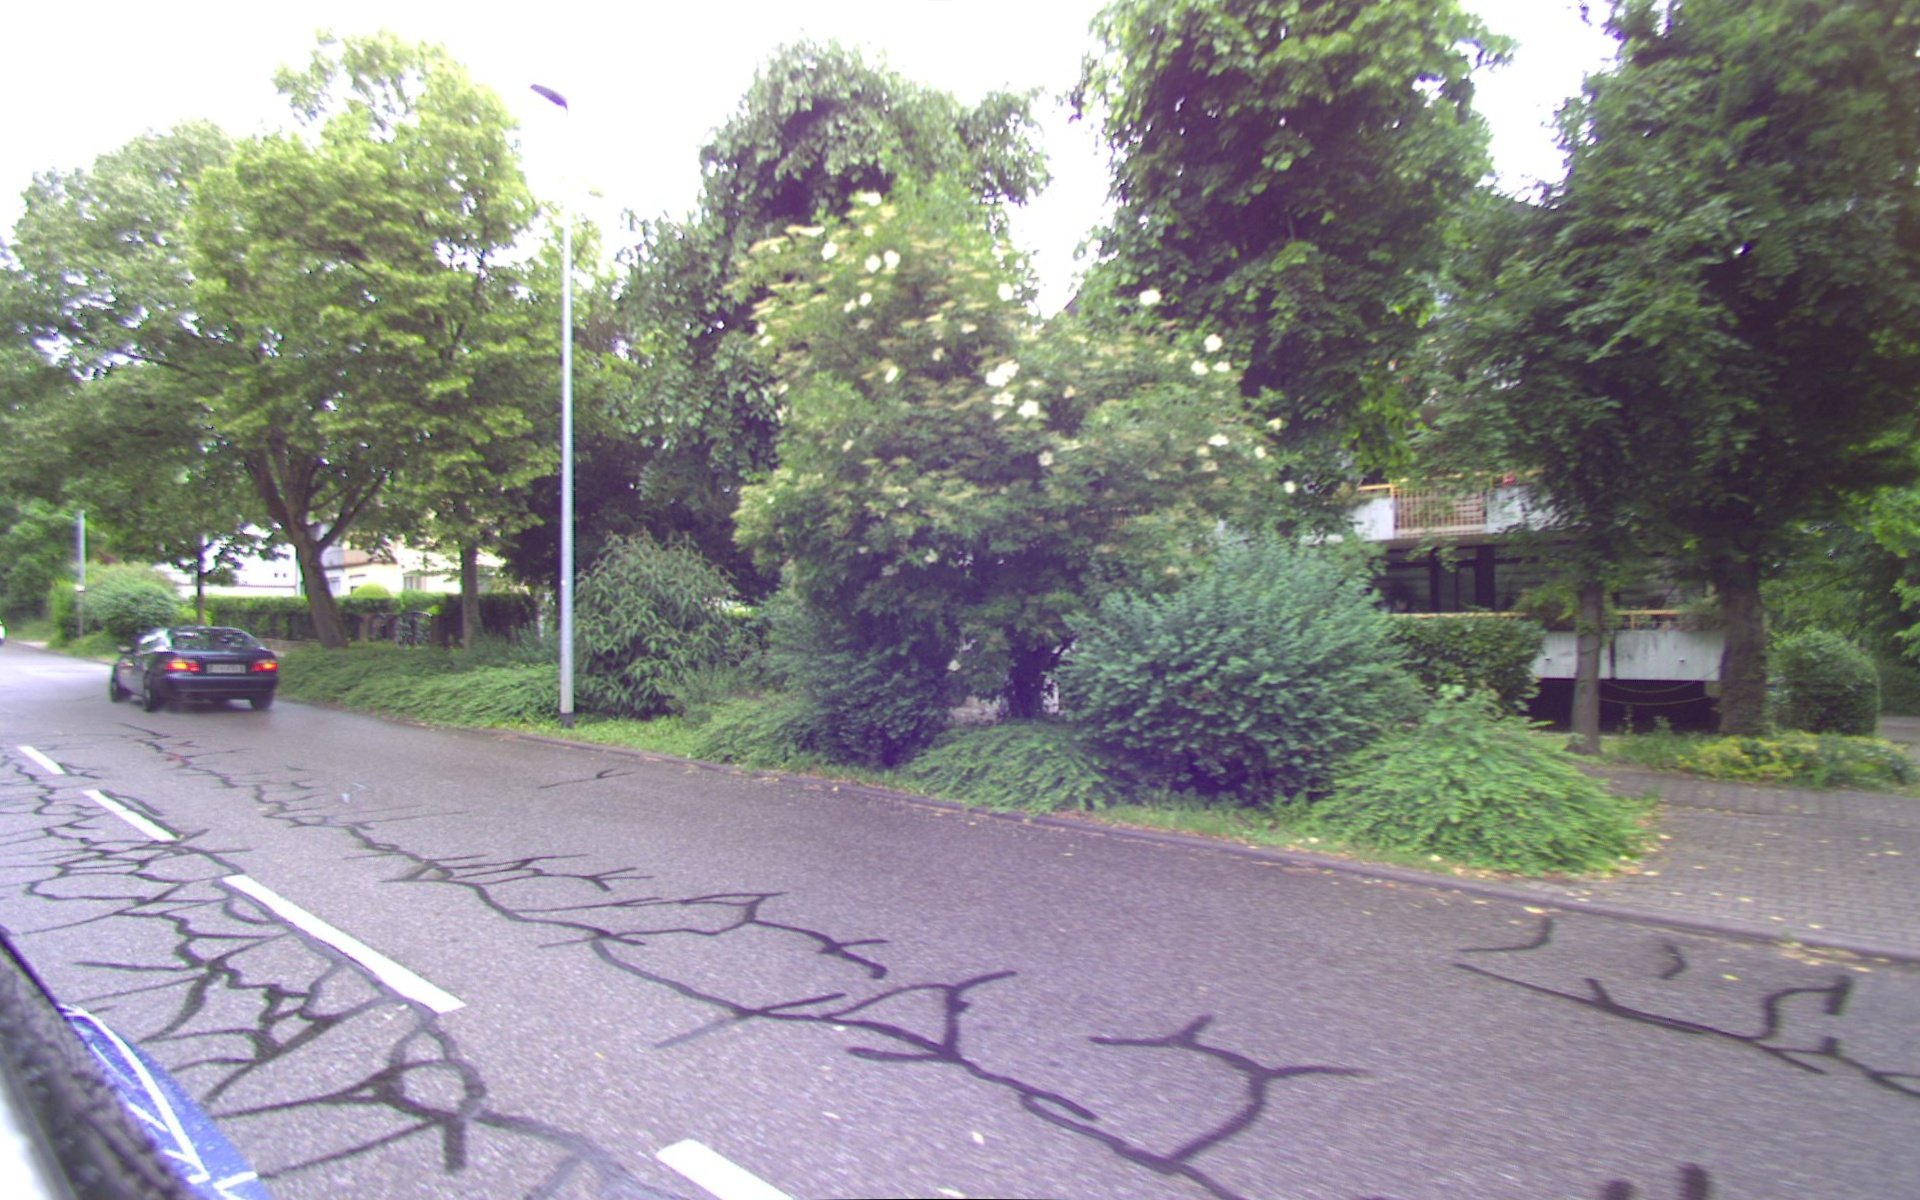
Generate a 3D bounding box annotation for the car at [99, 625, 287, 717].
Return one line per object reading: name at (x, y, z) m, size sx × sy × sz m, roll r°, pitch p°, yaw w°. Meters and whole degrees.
car at (-13.254, 1.142, 17.394) m, size 4.376 × 1.359 × 1.746 m, roll -1°, pitch -3°, yaw 42°

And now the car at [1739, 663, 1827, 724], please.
car at (29.014, 3.255, 35.792) m, size 1.819 × 1.730 × 3.958 m, roll -1°, pitch 0°, yaw 31°

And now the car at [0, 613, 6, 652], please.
car at (-39.230, 1.232, 39.963) m, size 4.064 × 1.490 × 1.803 m, roll 0°, pitch -2°, yaw 40°
